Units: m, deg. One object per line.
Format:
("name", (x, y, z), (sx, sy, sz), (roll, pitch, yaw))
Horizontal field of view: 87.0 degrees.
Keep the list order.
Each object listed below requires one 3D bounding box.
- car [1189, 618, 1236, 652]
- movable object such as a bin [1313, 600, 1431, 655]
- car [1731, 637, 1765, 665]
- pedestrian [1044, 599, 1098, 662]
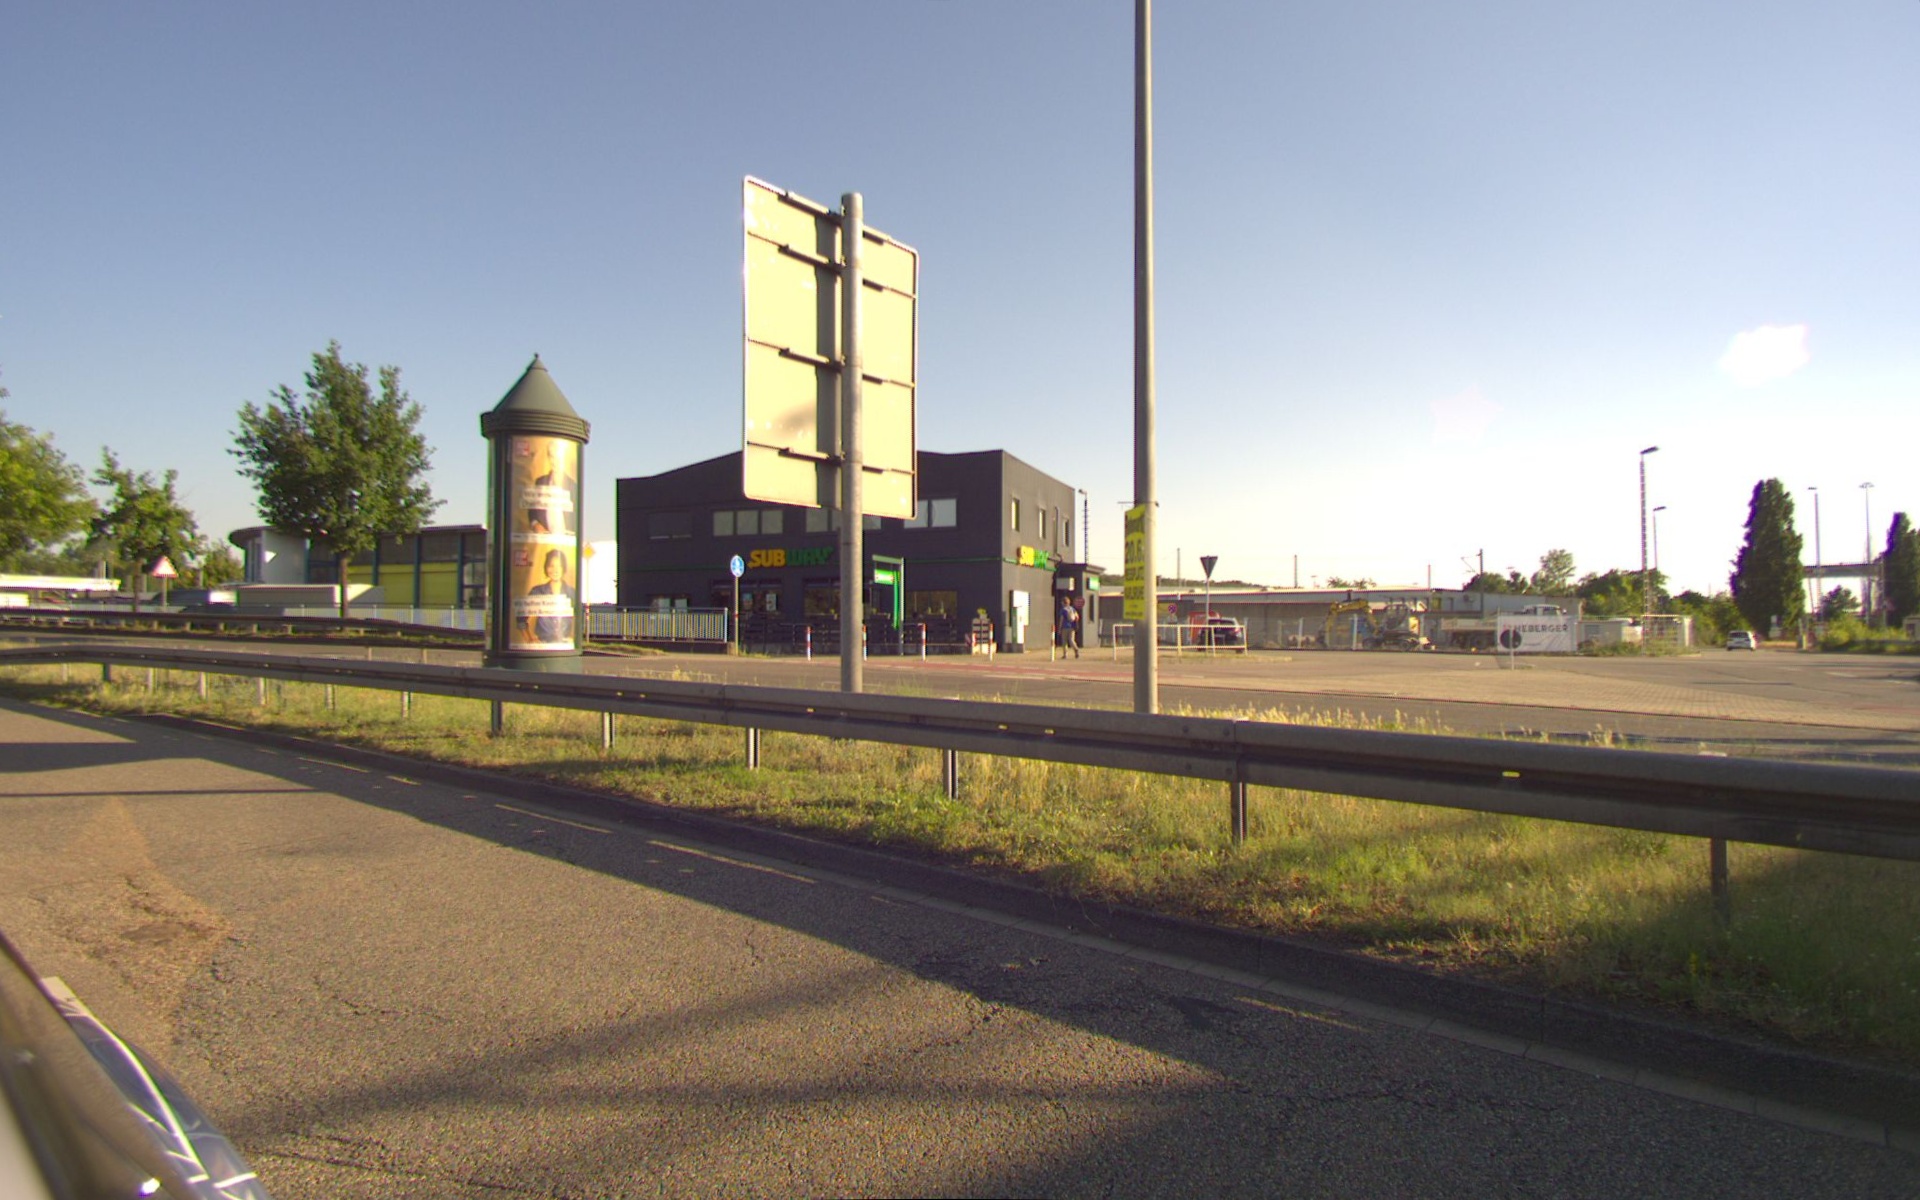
("car", (16.002, 2.189, 64.082), (1.991, 2.029, 3.962), (-1, 0, 28))
("movable object such as a bin", (25.342, 1.650, 62.381), (6.587, 3.241, 2.428), (-1, 0, 23))
("car", (64.182, 4.107, 82.511), (1.996, 2.029, 3.952), (-1, 0, 35))
("pedestrian", (3.375, 0.917, 30.748), (1.085, 1.849, 1.258), (-1, 0, 42))
